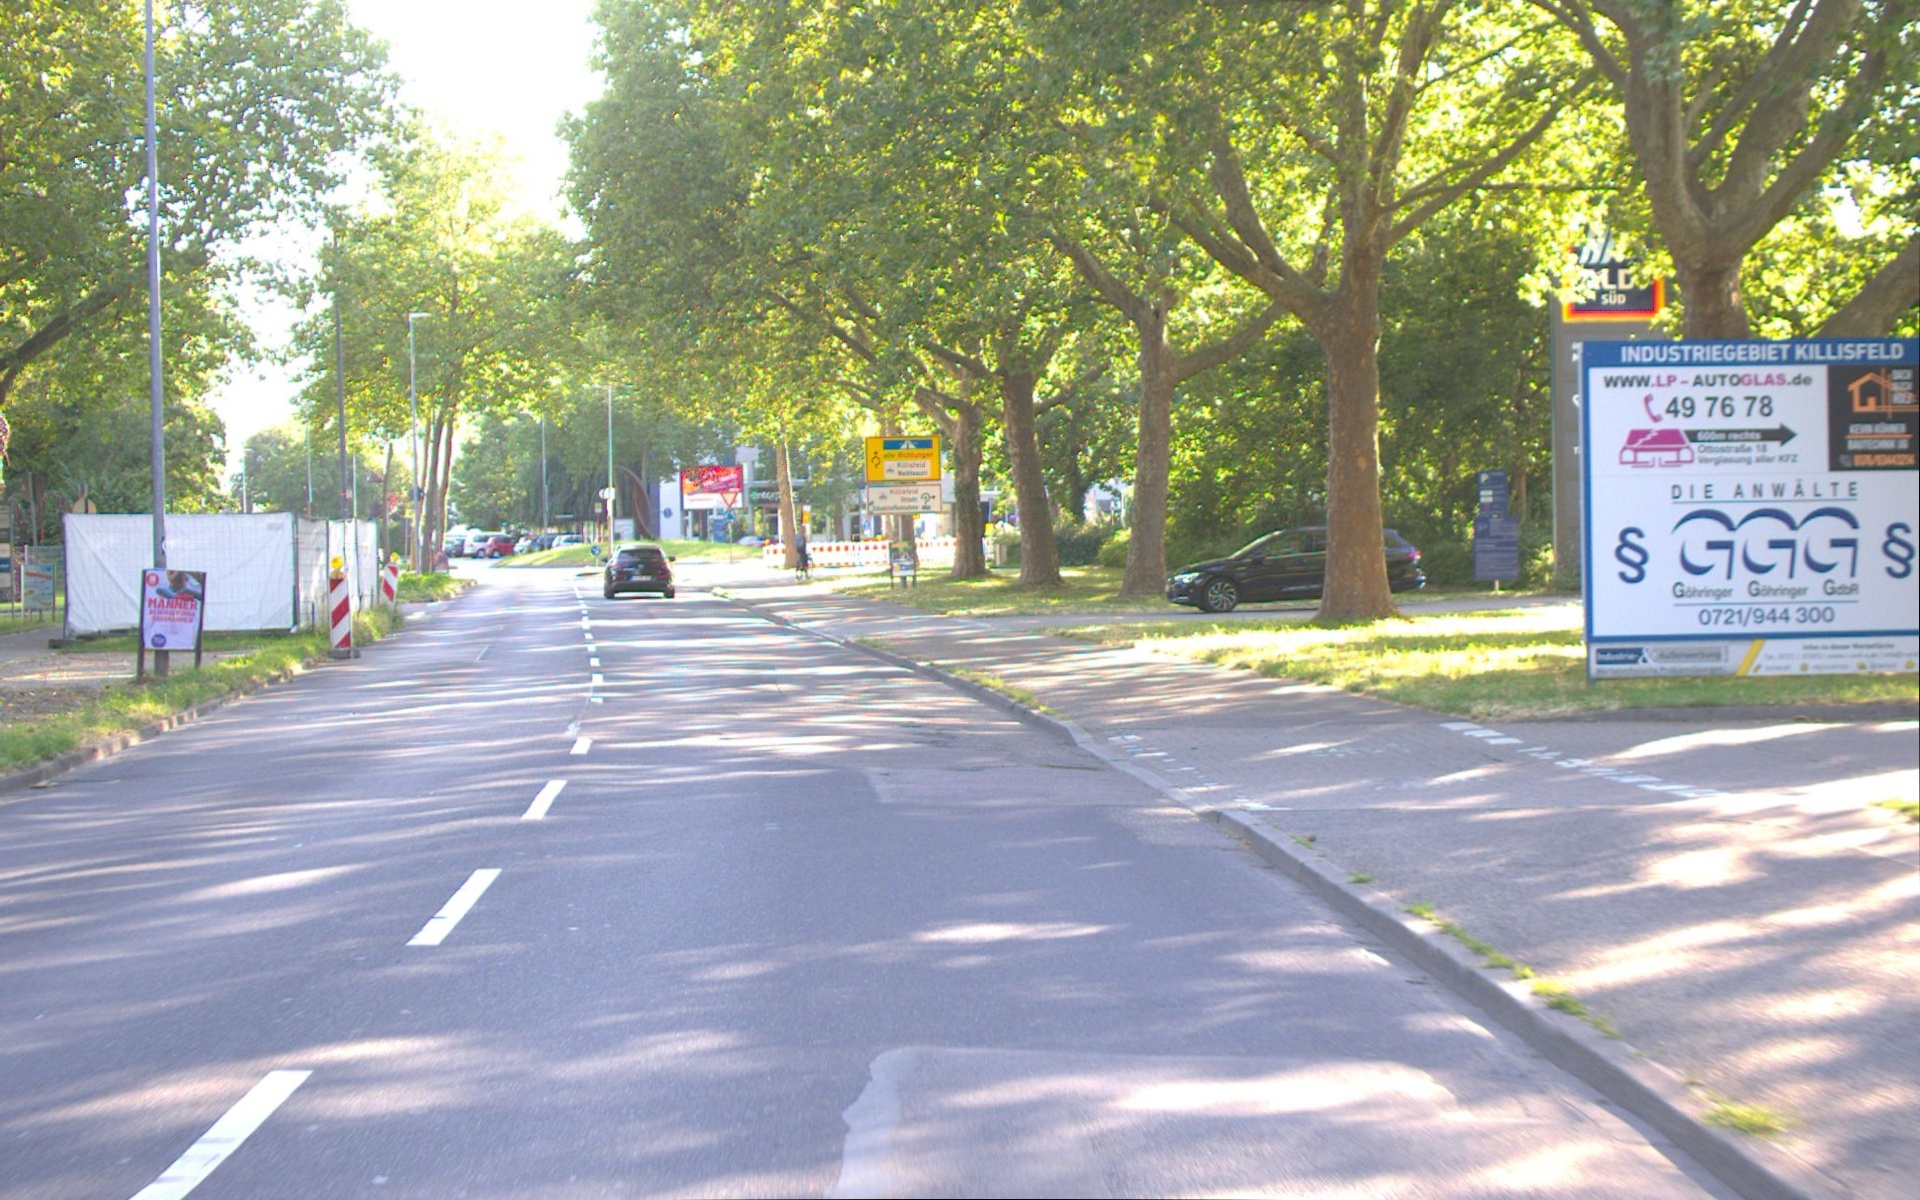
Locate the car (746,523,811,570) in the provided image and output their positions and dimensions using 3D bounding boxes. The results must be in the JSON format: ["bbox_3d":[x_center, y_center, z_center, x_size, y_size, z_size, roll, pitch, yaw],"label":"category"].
[{"bbox_3d":[-8.083,-2.408,153.074,1.994,2.007,3.999,-1,1,10],"label":"car"}]

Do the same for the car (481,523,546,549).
[{"bbox_3d":[-30.340,-4.377,233.818,3.987,1.741,1.795,0,1,-36],"label":"car"}]

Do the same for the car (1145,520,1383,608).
[{"bbox_3d":[5.422,-0.662,61.626,3.986,1.438,1.761,-2,1,-3],"label":"car"}]

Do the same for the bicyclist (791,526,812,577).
[{"bbox_3d":[-5.235,-1.609,113.619,0.650,1.699,0.871,0,1,-6],"label":"bicyclist"}]

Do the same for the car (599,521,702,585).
[{"bbox_3d":[-8.121,-1.239,90.398,1.840,1.600,3.861,-1,1,8],"label":"car"}]
